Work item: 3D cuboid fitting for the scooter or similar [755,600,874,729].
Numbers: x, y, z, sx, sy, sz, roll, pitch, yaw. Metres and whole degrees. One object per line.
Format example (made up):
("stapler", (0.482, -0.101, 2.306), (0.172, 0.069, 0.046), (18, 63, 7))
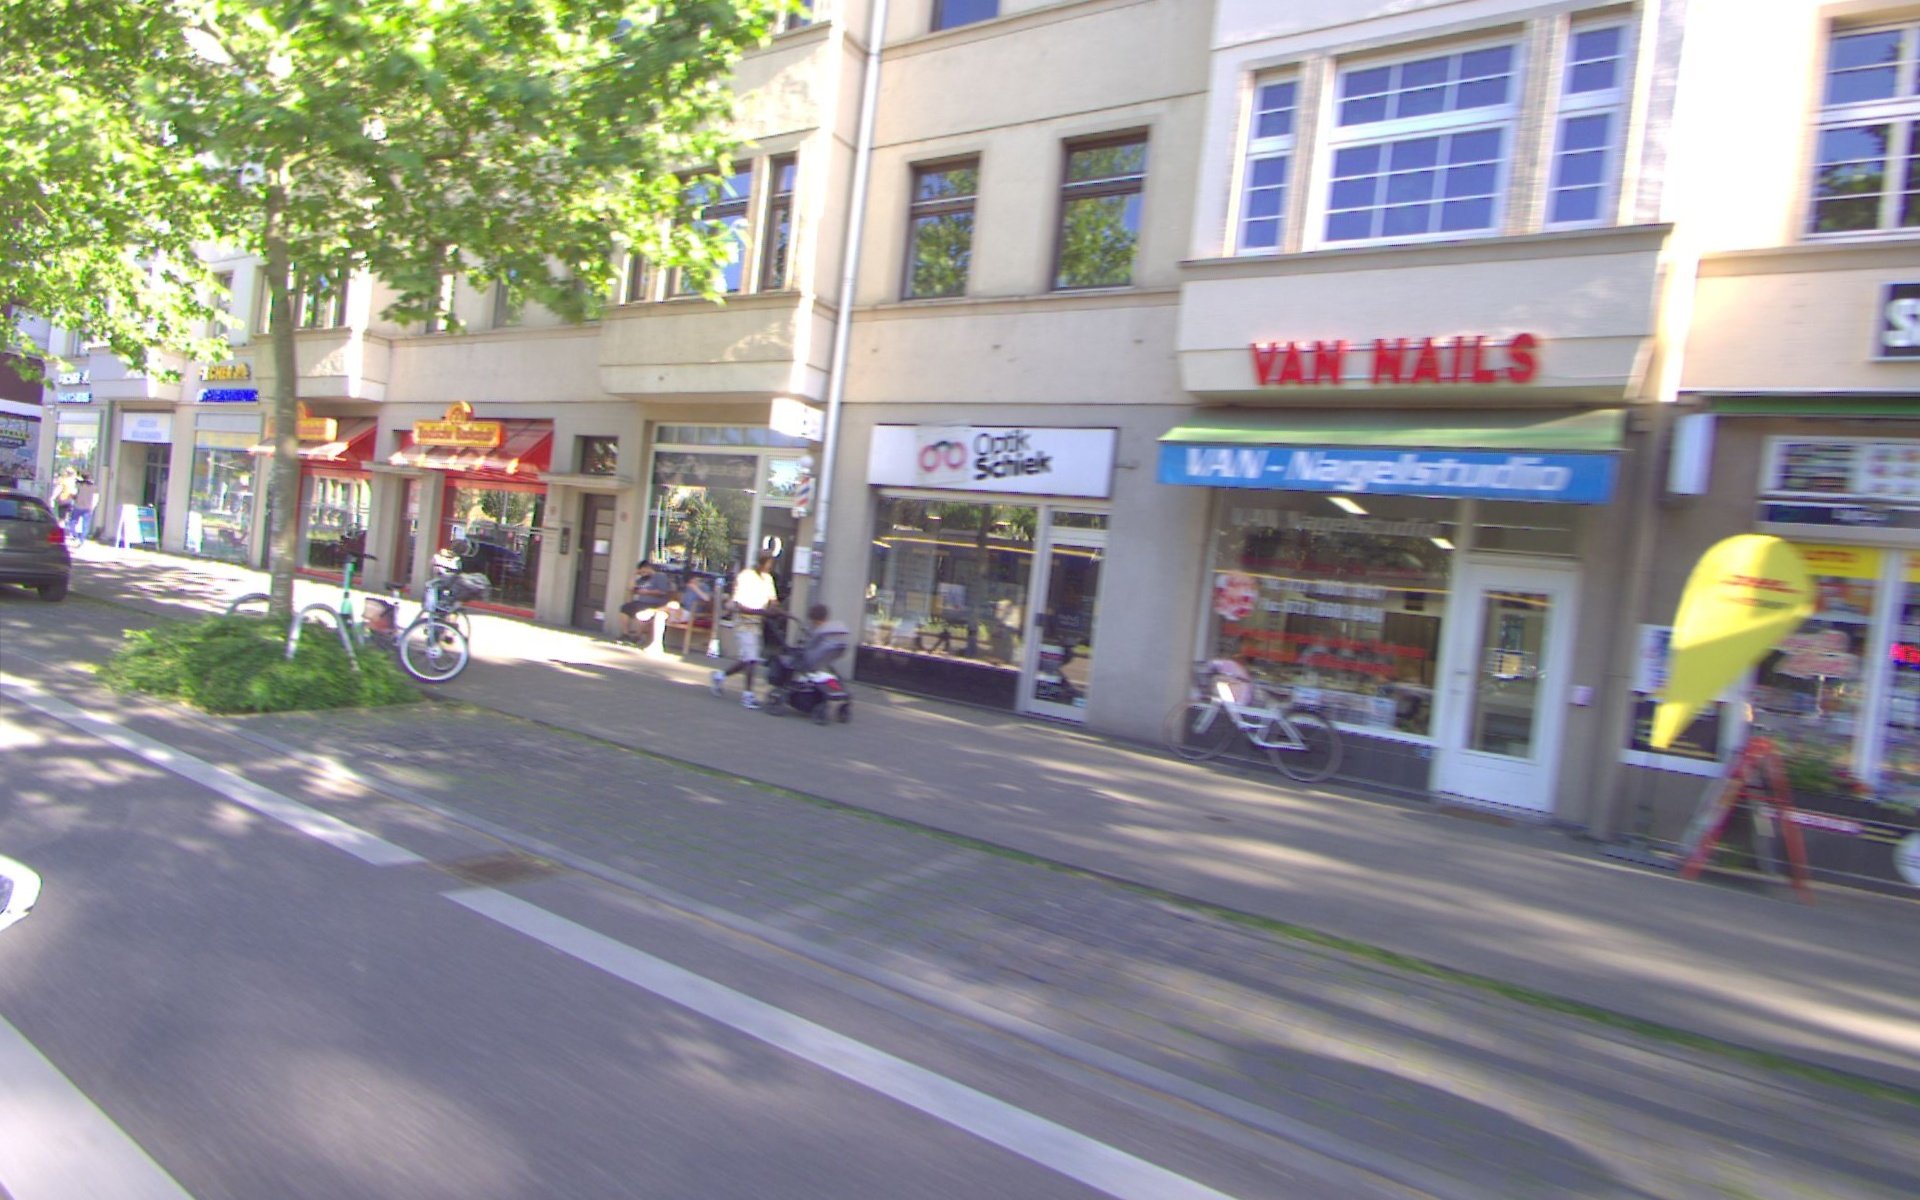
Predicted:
("scooter or similar", (-1.490, 0.646, 10.360), (0.834, 1.187, 0.745), (7, 3, 29))

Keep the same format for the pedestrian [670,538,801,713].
("pedestrian", (-2.402, 0.259, 10.783), (0.901, 1.728, 0.859), (7, 3, 29))

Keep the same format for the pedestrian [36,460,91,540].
("pedestrian", (-22.971, -2.552, 25.783), (0.849, 1.924, 0.714), (7, 1, 32))

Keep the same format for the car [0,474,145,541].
("car", (-33.829, -3.499, 37.903), (1.962, 1.809, 4.305), (7, -1, 31))

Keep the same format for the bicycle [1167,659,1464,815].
("bicycle", (3.366, 1.258, 9.729), (2.579, 1.038, 0.490), (7, 4, 32))

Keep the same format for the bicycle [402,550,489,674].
("bicycle", (-5.881, 0.100, 11.440), (0.384, 1.222, 1.852), (6, 1, -40))

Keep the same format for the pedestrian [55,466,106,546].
("pedestrian", (-20.171, -2.152, 23.068), (0.757, 1.732, 0.558), (7, 1, 32))

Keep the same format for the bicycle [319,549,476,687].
("bicycle", (-5.807, 0.158, 10.347), (1.870, 1.230, 0.392), (5, 1, 28))

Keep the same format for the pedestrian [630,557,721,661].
("pedestrian", (-4.096, 0.134, 14.489), (0.843, 1.387, 0.785), (7, 1, 32))

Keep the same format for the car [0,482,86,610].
("car", (-13.538, -0.861, 13.478), (3.738, 1.523, 1.695), (7, 3, 32))

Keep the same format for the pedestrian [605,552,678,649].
("pedestrian", (-4.763, 0.015, 15.048), (0.807, 1.349, 0.535), (7, 2, 32))
